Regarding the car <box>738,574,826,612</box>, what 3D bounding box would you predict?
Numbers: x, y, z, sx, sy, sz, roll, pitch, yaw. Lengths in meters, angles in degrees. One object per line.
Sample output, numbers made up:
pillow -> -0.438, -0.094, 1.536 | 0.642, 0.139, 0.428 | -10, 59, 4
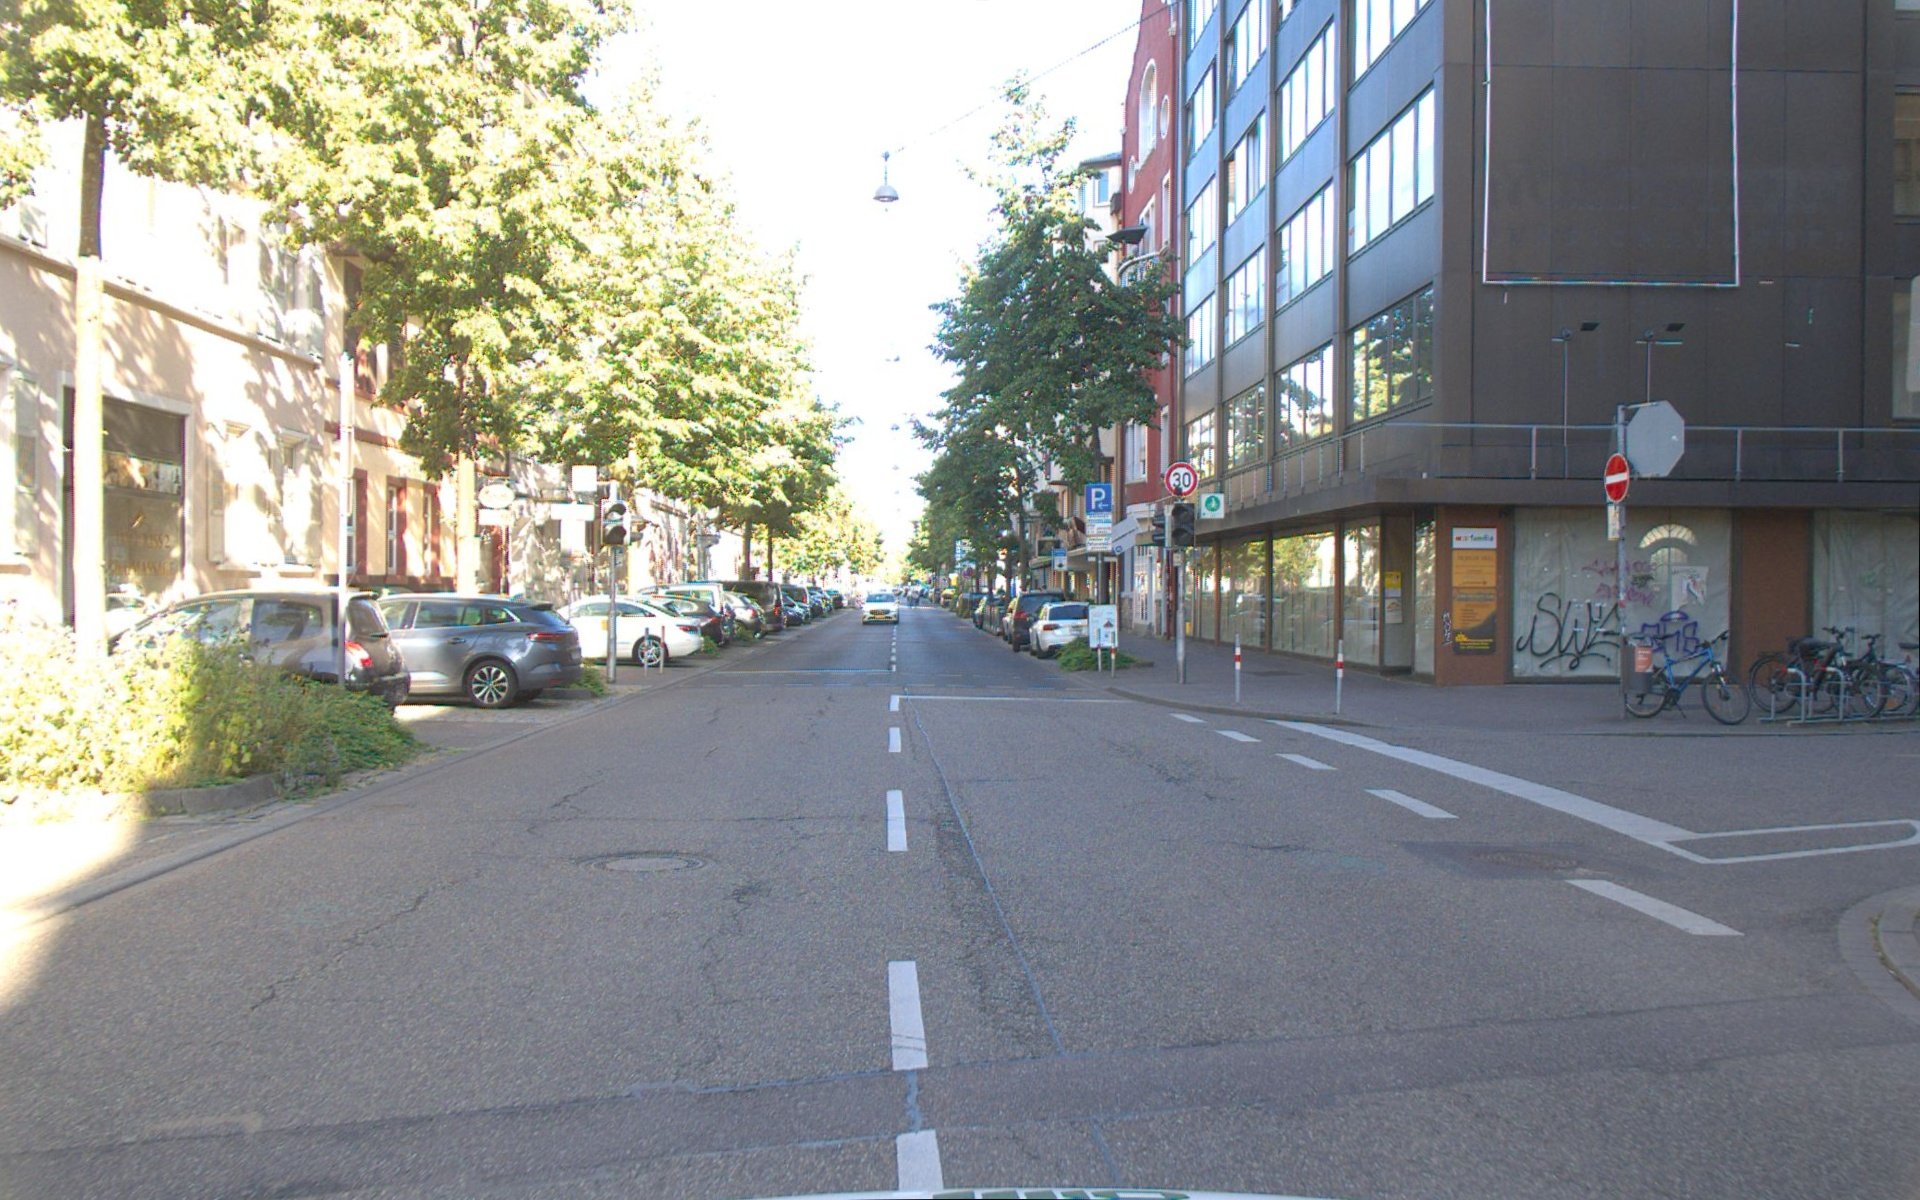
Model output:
car -> -9.635, -0.366, 89.740 | 4.585, 1.984, 1.916 | 1, 0, -1

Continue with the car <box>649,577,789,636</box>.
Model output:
car -> -8.276, 0.209, 57.073 | 4.479, 1.960, 1.930 | 1, 0, 0

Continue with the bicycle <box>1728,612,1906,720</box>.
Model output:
bicycle -> 10.972, 0.822, 21.254 | 0.565, 1.181, 1.998 | 0, 3, -30

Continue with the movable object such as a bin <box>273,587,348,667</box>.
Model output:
movable object such as a bin -> -11.572, 0.472, 29.511 | 0.812, 1.379, 1.248 | 1, 0, 1

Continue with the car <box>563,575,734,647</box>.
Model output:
car -> -8.395, 0.296, 44.817 | 4.250, 1.856, 1.930 | 1, 0, 0

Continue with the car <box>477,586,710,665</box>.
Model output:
car -> -7.693, 0.541, 35.125 | 4.610, 1.518, 1.997 | 2, -1, -7

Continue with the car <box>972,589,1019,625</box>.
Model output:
car -> 1.591, 0.285, 75.774 | 1.785, 1.497, 4.910 | -2, 0, -2

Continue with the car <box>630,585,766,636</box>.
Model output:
car -> -8.586, 0.340, 54.478 | 4.254, 1.623, 1.915 | 1, 0, -4

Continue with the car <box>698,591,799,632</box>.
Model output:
car -> -9.282, 0.509, 72.789 | 4.252, 1.739, 1.916 | 1, 0, -3

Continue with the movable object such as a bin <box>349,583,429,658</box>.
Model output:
movable object such as a bin -> -11.565, 0.406, 33.560 | 1.110, 1.470, 1.382 | 1, 0, 1

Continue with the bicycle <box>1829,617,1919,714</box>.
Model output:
bicycle -> 12.471, 0.867, 21.823 | 0.564, 1.152, 1.731 | 0, 3, -27

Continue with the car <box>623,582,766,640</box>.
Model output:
car -> -8.304, 0.339, 52.068 | 4.254, 1.764, 1.915 | 1, 0, -4

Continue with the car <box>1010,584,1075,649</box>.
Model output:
car -> 2.440, 0.449, 50.009 | 1.784, 1.808, 4.931 | -2, 0, 1

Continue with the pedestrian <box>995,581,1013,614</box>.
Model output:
pedestrian -> 2.660, -0.142, 100.011 | 0.906, 1.969, 0.761 | 0, 0, 23

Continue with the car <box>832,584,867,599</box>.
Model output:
car -> -12.985, -0.971, 195.226 | 3.904, 1.724, 2.001 | 0, 1, 2

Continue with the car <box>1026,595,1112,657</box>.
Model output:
car -> 2.811, 0.644, 43.592 | 1.785, 1.427, 4.840 | -2, 0, -2

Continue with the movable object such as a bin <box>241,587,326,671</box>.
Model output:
movable object such as a bin -> -11.537, 0.486, 28.230 | 0.890, 1.391, 1.261 | 1, 0, 1

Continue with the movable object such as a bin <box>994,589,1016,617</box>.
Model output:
movable object such as a bin -> 2.360, 0.164, 86.702 | 1.056, 1.456, 1.295 | 0, 0, -2

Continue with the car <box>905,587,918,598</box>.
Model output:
car -> -6.483, -1.024, 220.475 | 1.756, 1.436, 3.998 | 0, 1, -2

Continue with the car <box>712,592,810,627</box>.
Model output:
car -> -9.277, 0.450, 77.433 | 4.377, 1.568, 1.915 | 1, 0, -3

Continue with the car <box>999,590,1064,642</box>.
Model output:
car -> 2.402, 0.510, 56.375 | 1.785, 1.624, 4.840 | -2, 0, -2

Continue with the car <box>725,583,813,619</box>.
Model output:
car -> -10.033, 0.046, 87.003 | 4.375, 1.803, 1.916 | 1, 0, -1

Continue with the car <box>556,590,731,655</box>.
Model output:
car -> -8.065, 0.567, 42.104 | 4.265, 1.571, 1.957 | 1, 0, -14

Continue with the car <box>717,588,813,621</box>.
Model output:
car -> -9.428, 0.215, 80.182 | 4.374, 1.568, 1.917 | 1, 0, 1

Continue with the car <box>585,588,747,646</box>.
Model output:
car -> -8.413, 0.466, 47.539 | 4.249, 1.571, 1.917 | 1, 0, 2

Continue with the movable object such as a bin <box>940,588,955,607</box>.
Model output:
movable object such as a bin -> -1.119, -0.236, 144.784 | 1.118, 1.589, 1.460 | -1, 0, 6

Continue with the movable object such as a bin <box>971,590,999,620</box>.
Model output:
movable object such as a bin -> 1.278, 0.257, 84.310 | 1.371, 1.479, 1.145 | 0, 0, -2

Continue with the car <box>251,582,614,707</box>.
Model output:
car -> -7.012, 0.572, 22.337 | 4.250, 1.571, 1.944 | 1, 0, 0

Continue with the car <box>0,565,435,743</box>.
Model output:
car -> -7.624, 0.513, 16.858 | 3.905, 1.668, 1.944 | 1, 0, 0

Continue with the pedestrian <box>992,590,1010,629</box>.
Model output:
pedestrian -> 1.640, 0.377, 67.022 | 0.637, 1.563, 0.979 | 0, 0, -4

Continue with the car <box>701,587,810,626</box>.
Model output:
car -> -8.701, 0.267, 70.500 | 4.375, 1.568, 1.916 | 1, 0, 0

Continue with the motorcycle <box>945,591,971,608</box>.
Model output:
motorcycle -> -0.144, -0.073, 134.484 | 1.944, 1.353, 0.908 | 0, 1, -15

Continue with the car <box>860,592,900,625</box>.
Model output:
car -> -3.951, 0.408, 82.228 | 1.871, 1.571, 4.352 | 1, 0, -1

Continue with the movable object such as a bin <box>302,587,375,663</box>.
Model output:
movable object such as a bin -> -11.570, 0.452, 30.837 | 0.800, 1.386, 1.345 | 1, 0, 1

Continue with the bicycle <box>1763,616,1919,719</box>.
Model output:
bicycle -> 11.559, 0.848, 21.583 | 0.565, 1.152, 1.908 | 0, 3, -30

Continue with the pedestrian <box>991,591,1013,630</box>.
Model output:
pedestrian -> 1.682, 0.416, 65.724 | 0.733, 1.563, 0.808 | 0, 0, 12

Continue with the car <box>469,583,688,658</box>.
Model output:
car -> -8.579, 0.448, 37.558 | 4.610, 1.518, 1.997 | 2, 1, -7

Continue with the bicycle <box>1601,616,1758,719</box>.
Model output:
bicycle -> 8.971, 0.822, 20.669 | 0.568, 1.182, 1.719 | -1, 1, -41
